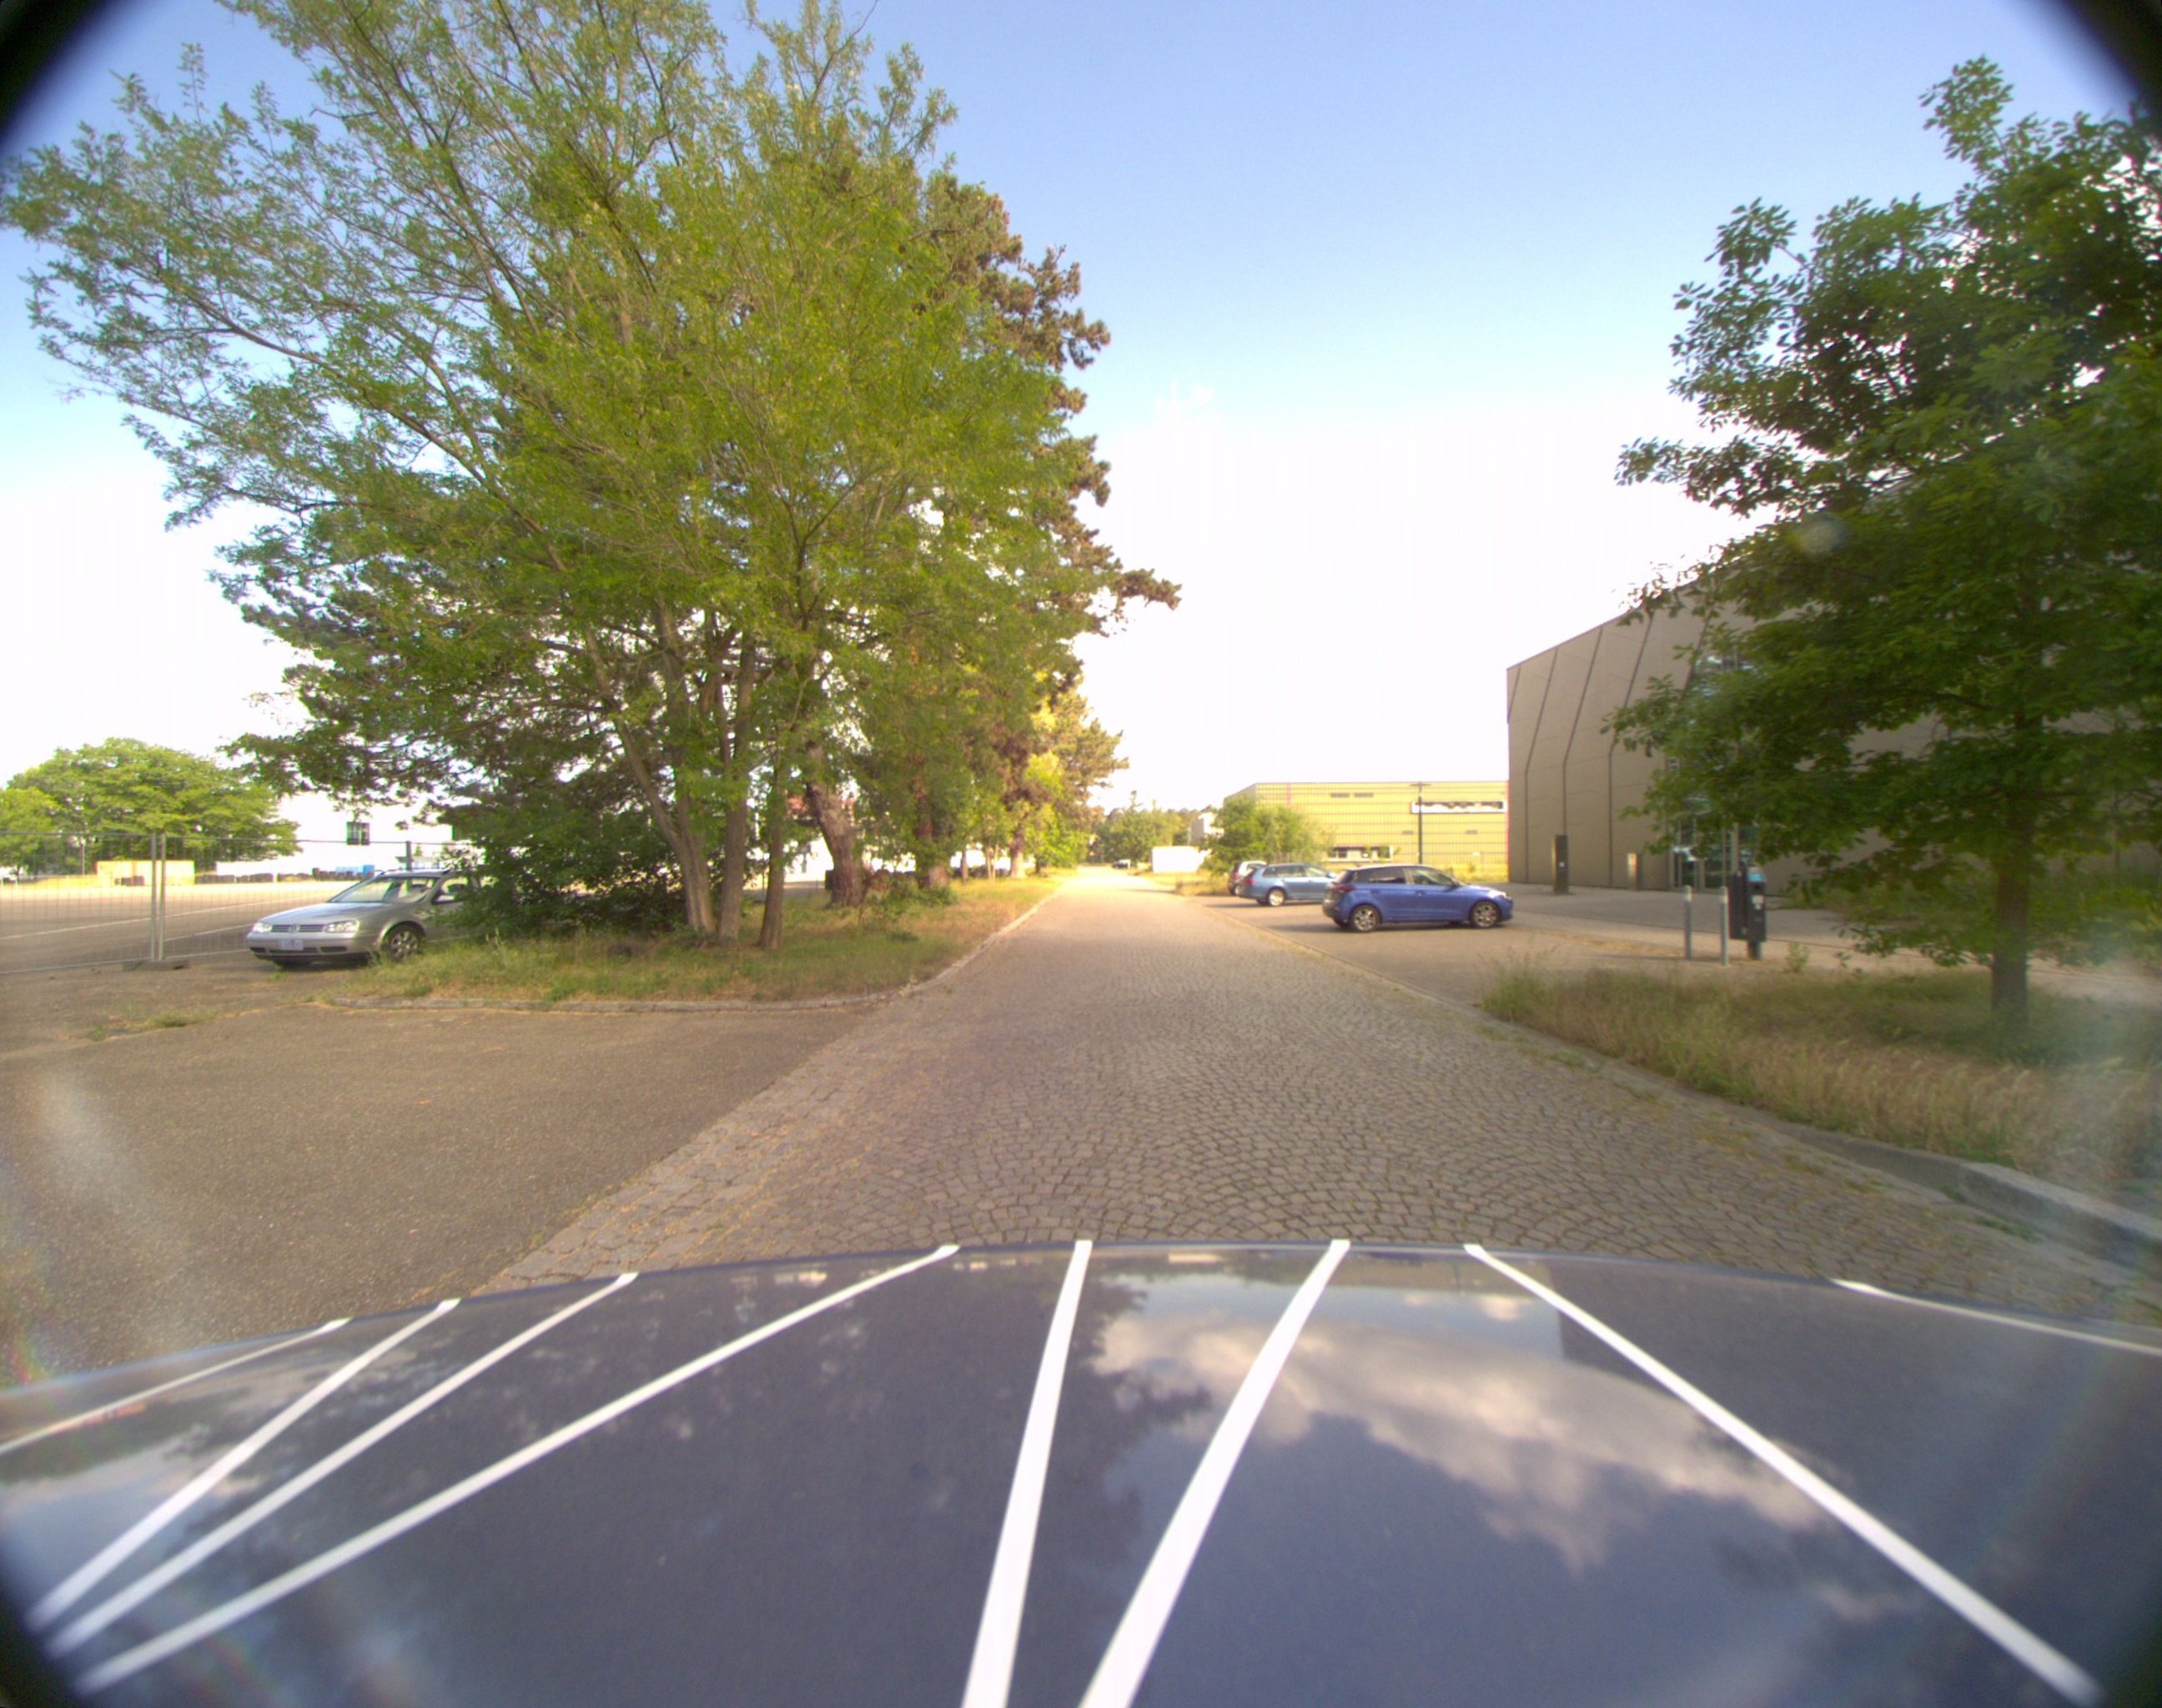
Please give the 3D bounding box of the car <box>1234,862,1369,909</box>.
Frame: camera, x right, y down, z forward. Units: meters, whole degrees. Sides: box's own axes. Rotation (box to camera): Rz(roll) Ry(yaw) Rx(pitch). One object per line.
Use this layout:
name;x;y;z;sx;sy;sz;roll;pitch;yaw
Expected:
car;7.699;1.078;26.782;4.179;1.465;1.734;-2;0;-1

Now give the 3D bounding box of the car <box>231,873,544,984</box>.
car;-11.001;1.086;12.512;1.578;1.435;3.986;0;0;-2

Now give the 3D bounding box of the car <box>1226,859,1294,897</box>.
car;8.022;1.068;34.167;2.652;1.559;1.482;-2;0;0

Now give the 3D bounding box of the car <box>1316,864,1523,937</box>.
car;7.586;1.032;17.320;3.917;1.459;1.735;-2;0;4
